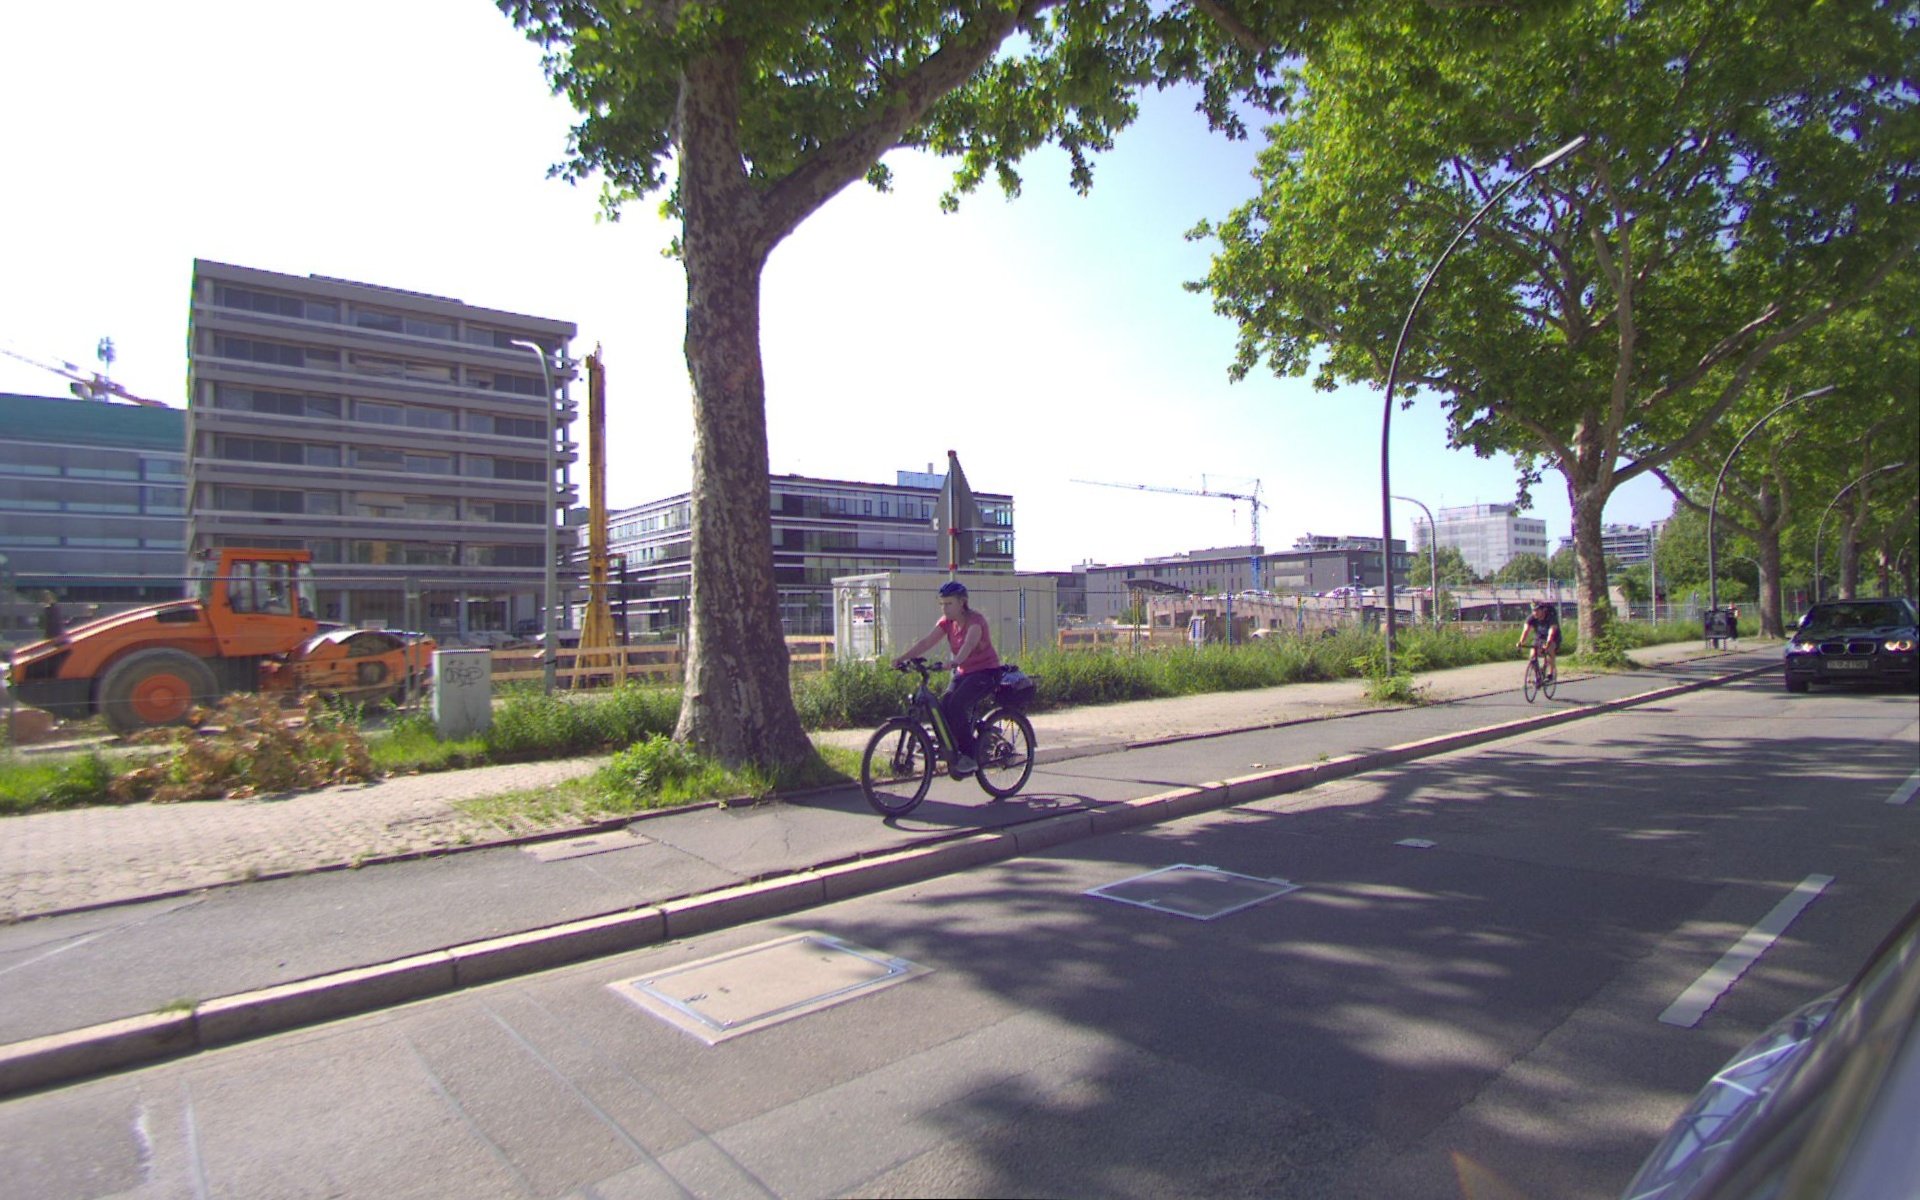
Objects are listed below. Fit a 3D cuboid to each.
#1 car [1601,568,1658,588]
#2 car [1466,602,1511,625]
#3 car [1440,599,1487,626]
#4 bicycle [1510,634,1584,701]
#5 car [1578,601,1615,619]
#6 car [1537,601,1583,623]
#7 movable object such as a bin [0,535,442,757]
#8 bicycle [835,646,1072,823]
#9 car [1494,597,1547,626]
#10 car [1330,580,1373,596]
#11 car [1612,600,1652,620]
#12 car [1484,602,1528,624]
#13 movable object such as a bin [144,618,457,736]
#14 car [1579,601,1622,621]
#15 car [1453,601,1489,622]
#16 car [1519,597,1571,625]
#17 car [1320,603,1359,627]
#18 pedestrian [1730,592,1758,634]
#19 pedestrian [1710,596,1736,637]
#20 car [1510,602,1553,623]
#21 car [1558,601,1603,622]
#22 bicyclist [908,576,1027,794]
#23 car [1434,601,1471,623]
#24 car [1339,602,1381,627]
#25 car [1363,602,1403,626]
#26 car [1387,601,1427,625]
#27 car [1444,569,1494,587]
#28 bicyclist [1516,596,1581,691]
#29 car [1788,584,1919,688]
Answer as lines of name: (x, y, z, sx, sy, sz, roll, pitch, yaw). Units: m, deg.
car: (60.904, -1.973, 92.128, 1.779, 1.529, 3.989, 1, -3, -44)
car: (58.130, 1.521, 111.315, 1.779, 2.352, 3.989, 1, -3, -44)
car: (53.112, 1.327, 106.726, 1.779, 2.774, 3.989, 1, -3, -44)
bicycle: (9.796, 1.096, 16.866, 1.751, 0.992, 0.598, 0, 0, -43)
car: (87.503, 1.435, 139.105, 1.779, 2.352, 3.989, 1, -3, -44)
car: (65.910, 1.350, 111.183, 1.779, 2.352, 3.989, 1, -3, -44)
movable object such as a bin: (-12.265, 0.704, 17.058, 5.886, 3.112, 2.370, 0, -3, -44)
bicycle: (-0.005, 0.974, 7.930, 1.912, 1.144, 0.652, 0, -1, -42)
car: (56.773, 1.185, 102.542, 1.779, 2.774, 4.365, 1, -3, -44)
car: (43.227, -1.338, 111.821, 1.779, 1.529, 3.989, 1, -3, -44)
car: (86.541, 1.284, 130.373, 1.779, 2.352, 3.989, 1, -3, -44)
car: (62.123, 1.509, 115.077, 1.779, 2.352, 3.989, 1, -3, -44)
movable object such as a bin: (-32.860, 3.748, 51.179, 11.557, 5.243, 6.751, -2, -2, 2)
car: (76.668, 1.315, 121.172, 1.779, 2.352, 3.989, 1, -3, -44)
car: (69.950, 1.588, 138.522, 1.779, 2.774, 3.989, 1, -3, -44)
car: (61.921, 1.164, 107.155, 1.779, 2.774, 4.365, 1, -3, -44)
car: (46.403, 1.804, 123.731, 1.779, 2.774, 3.989, 1, -3, -44)
pedestrian: (32.999, 0.561, 42.601, 1.048, 1.747, 0.710, 1, -3, -43)
pedestrian: (32.655, 0.712, 43.312, 0.943, 1.705, 0.696, 1, -3, -43)
car: (68.070, 1.488, 120.547, 1.779, 2.352, 3.989, 1, -3, -44)
car: (71.552, 1.338, 116.732, 1.779, 2.352, 3.989, 1, -3, -44)
bicyclist: (0.060, 0.631, 7.983, 0.720, 1.620, 0.620, 1, -1, -43)
car: (65.052, 1.600, 133.732, 1.779, 2.774, 3.989, 1, -3, -44)
car: (45.405, 1.651, 114.833, 1.779, 2.774, 3.989, 1, -3, -44)
car: (50.112, 1.650, 119.934, 1.779, 2.774, 3.989, 1, -3, -44)
car: (55.021, 1.636, 124.599, 1.779, 2.774, 3.989, 1, -3, -44)
car: (50.355, -2.140, 100.129, 1.779, 1.529, 3.989, 1, -3, -44)
bicyclist: (9.833, 0.700, 16.898, 1.194, 1.508, 0.599, 1, 0, -43)
car: (17.289, 0.645, 19.040, 4.079, 1.753, 1.922, 0, -3, -41)
